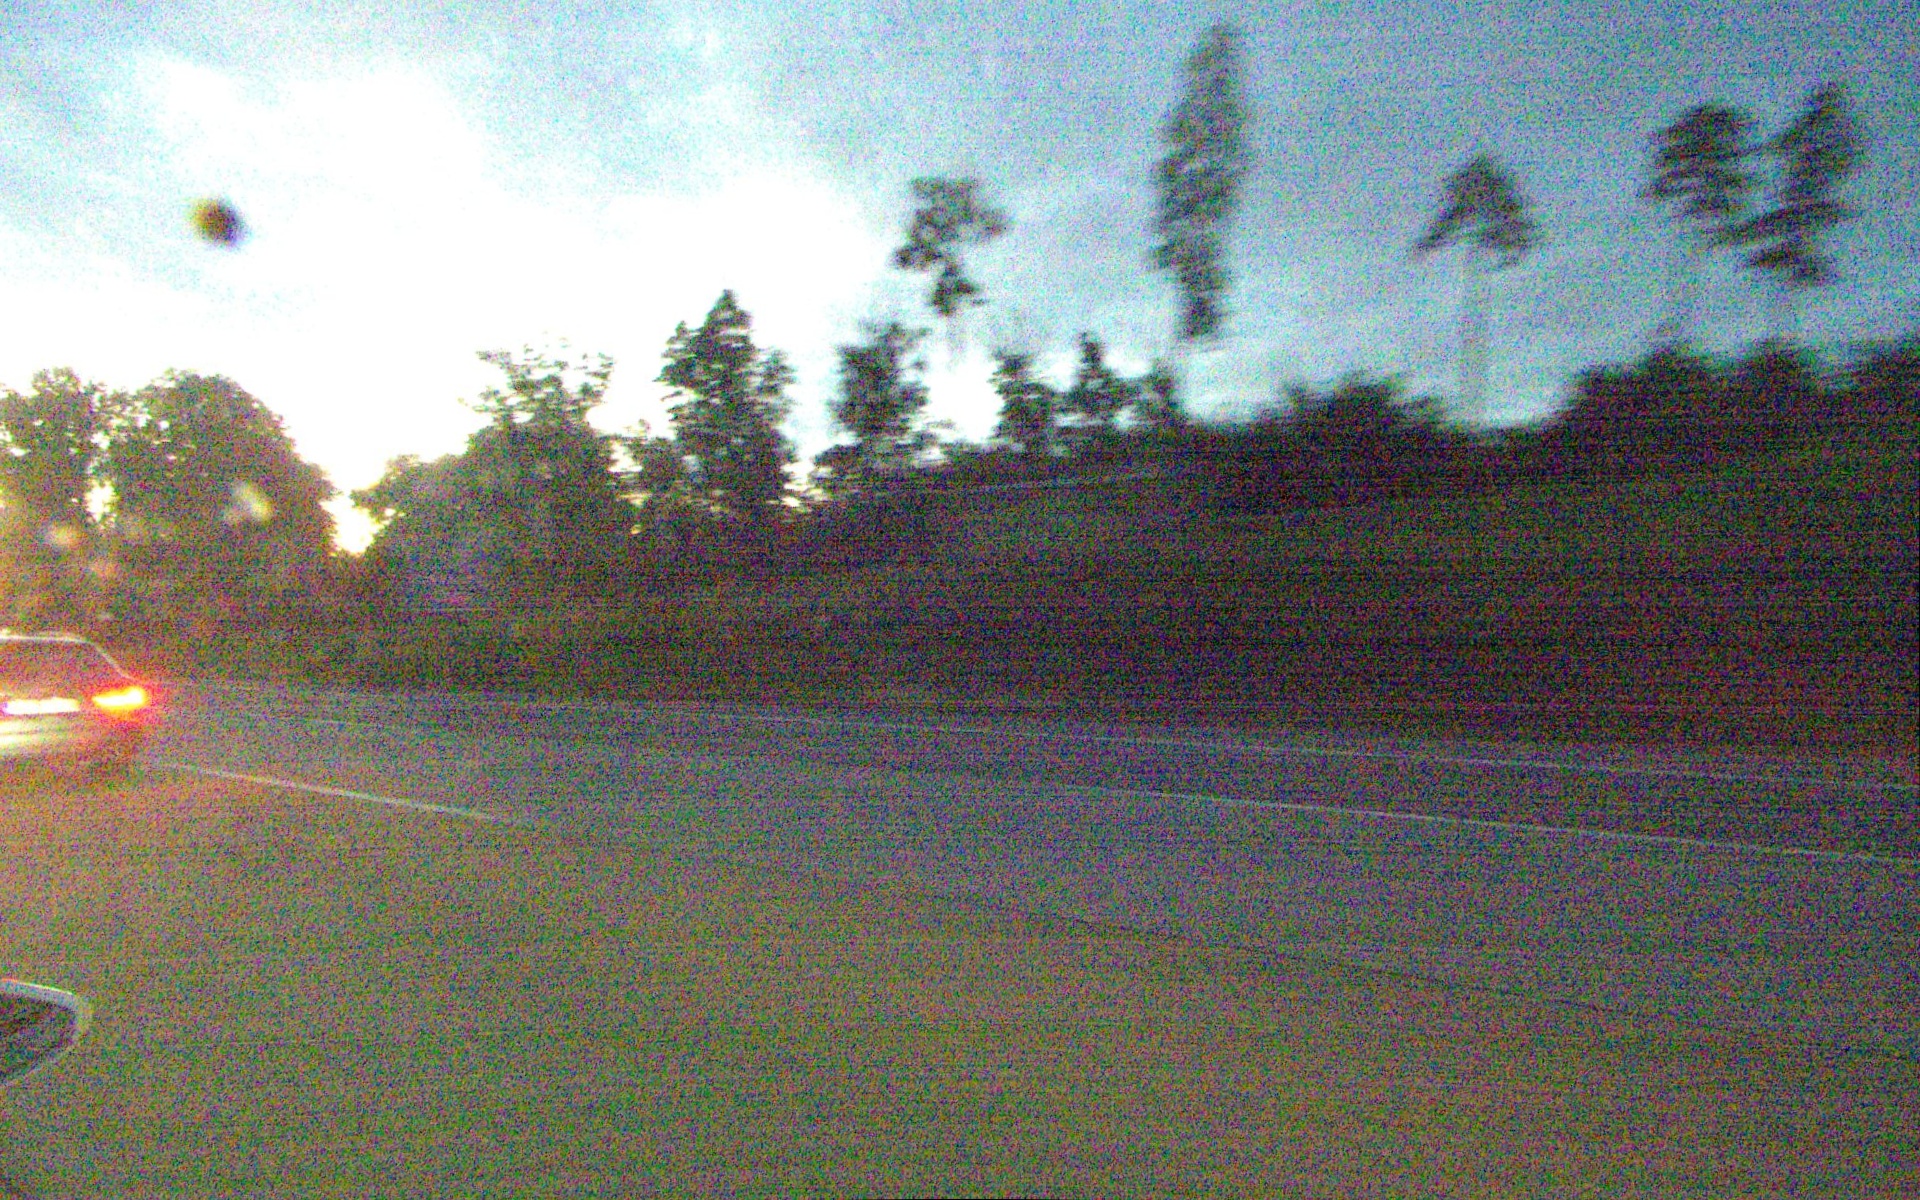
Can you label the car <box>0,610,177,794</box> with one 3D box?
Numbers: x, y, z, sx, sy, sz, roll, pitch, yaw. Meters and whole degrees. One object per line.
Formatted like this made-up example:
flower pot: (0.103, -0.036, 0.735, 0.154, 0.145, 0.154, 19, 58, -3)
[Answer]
car: (-10.387, 0.906, 10.392, 5.155, 1.557, 1.906, 0, 0, 32)
